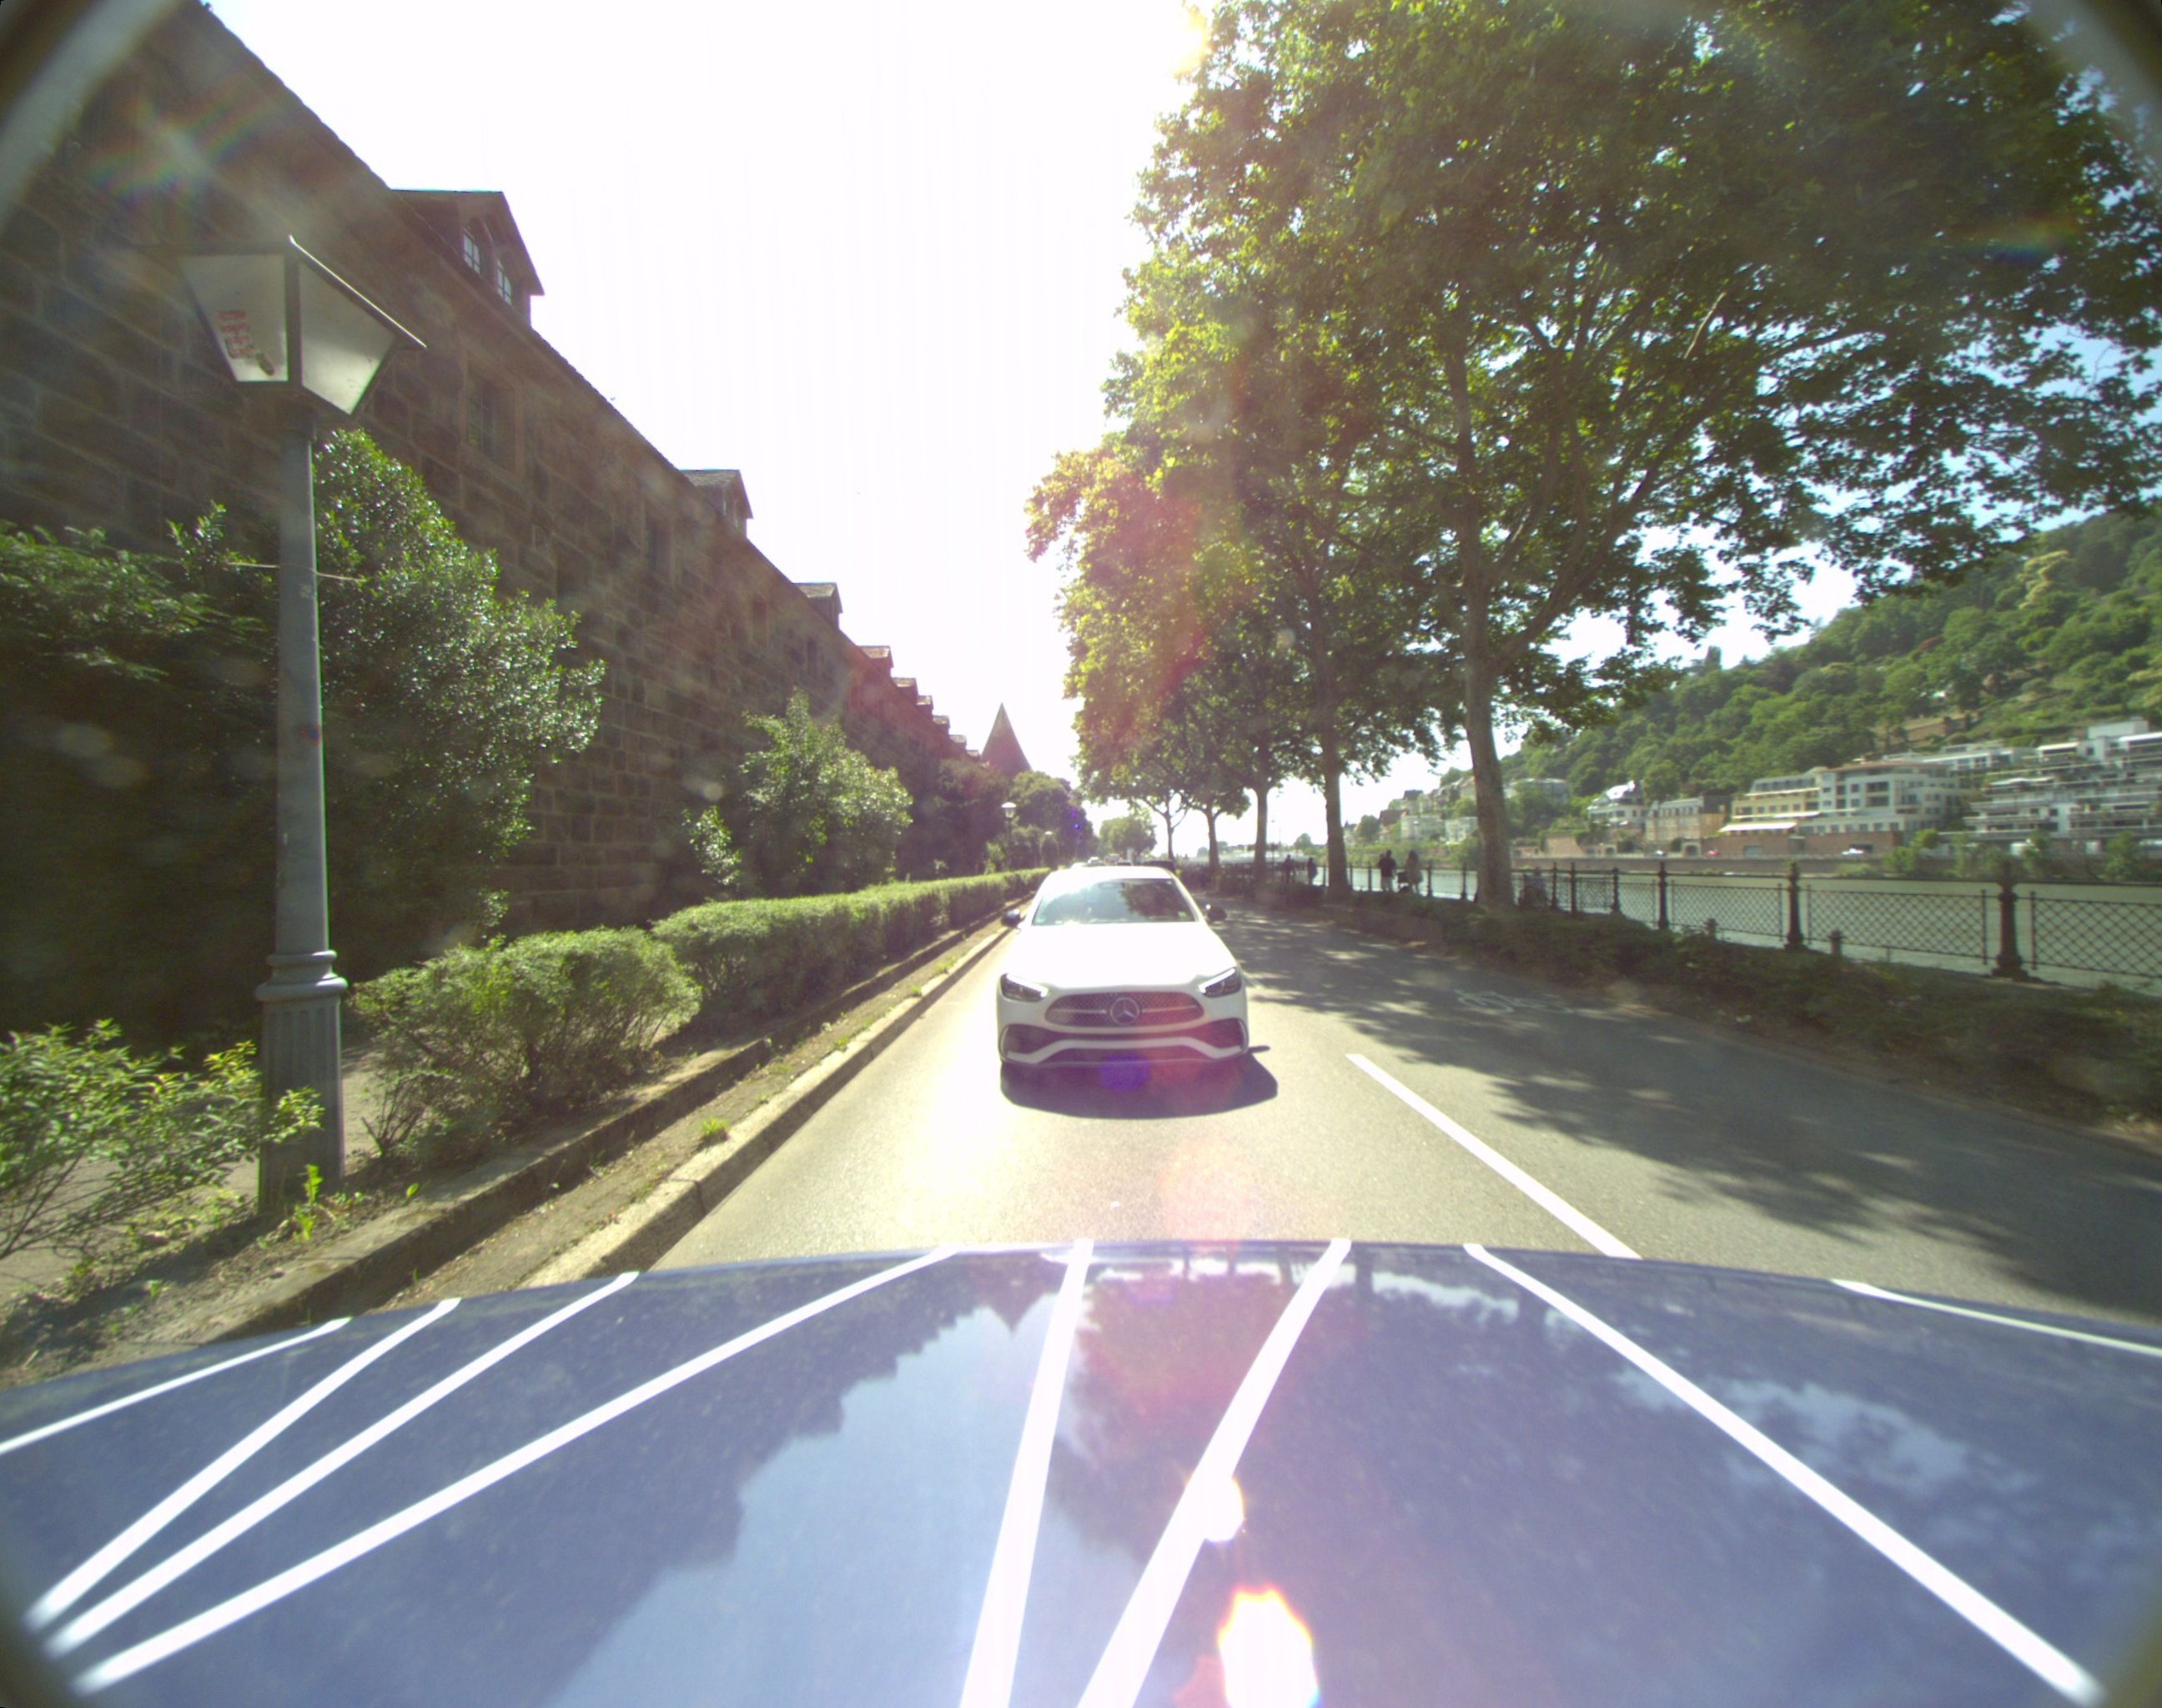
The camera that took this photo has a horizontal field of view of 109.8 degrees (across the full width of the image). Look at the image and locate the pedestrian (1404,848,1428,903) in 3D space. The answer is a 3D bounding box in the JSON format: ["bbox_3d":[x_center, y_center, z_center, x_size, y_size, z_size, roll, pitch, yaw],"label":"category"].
[{"bbox_3d":[10.799,0.696,24.525,0.518,1.758,0.592,0,0,1],"label":"pedestrian"}]

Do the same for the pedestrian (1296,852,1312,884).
[{"bbox_3d":[12.621,0.766,43.004,0.705,1.786,0.705,-1,1,3],"label":"pedestrian"}]

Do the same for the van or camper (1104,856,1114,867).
[{"bbox_3d":[7.102,1.782,191.955,2.328,2.646,6.264,1,0,1],"label":"van or camper"}]

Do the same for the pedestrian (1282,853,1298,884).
[{"bbox_3d":[11.795,0.827,42.934,0.705,1.721,0.705,-1,1,3],"label":"pedestrian"}]

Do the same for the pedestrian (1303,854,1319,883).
[{"bbox_3d":[12.553,0.794,41.498,0.705,1.594,0.705,-1,1,3],"label":"pedestrian"}]

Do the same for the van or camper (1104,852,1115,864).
[{"bbox_3d":[6.567,0.954,177.031,2.328,2.646,6.264,1,0,1],"label":"van or camper"}]

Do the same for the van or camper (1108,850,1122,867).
[{"bbox_3d":[5.280,0.743,119.646,1.965,2.552,5.841,1,0,1],"label":"van or camper"}]

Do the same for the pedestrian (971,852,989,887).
[{"bbox_3d":[-4.862,0.739,36.470,0.700,1.643,0.705,1,0,3],"label":"pedestrian"}]

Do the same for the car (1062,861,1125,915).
[{"bbox_3d":[0.410,1.023,24.162,1.854,1.543,3.849,0,0,1],"label":"car"}]

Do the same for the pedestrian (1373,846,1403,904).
[{"bbox_3d":[10.002,0.663,24.753,0.642,1.859,0.806,0,0,1],"label":"pedestrian"}]

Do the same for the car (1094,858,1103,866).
[{"bbox_3d":[4.227,1.837,181.537,1.923,1.975,3.999,0,0,-1],"label":"car"}]

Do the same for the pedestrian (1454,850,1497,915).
[{"bbox_3d":[10.669,0.750,20.573,0.695,1.707,0.874,1,0,-1],"label":"pedestrian"}]

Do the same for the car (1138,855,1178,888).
[{"bbox_3d":[4.079,0.909,40.559,1.768,1.638,4.090,1,0,1],"label":"car"}]

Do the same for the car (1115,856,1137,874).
[{"bbox_3d":[4.286,1.012,73.458,1.881,1.688,4.258,1,0,0],"label":"car"}]

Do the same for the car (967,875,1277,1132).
[{"bbox_3d":[0.278,0.965,6.766,1.829,1.418,4.359,-2,0,1],"label":"car"}]
